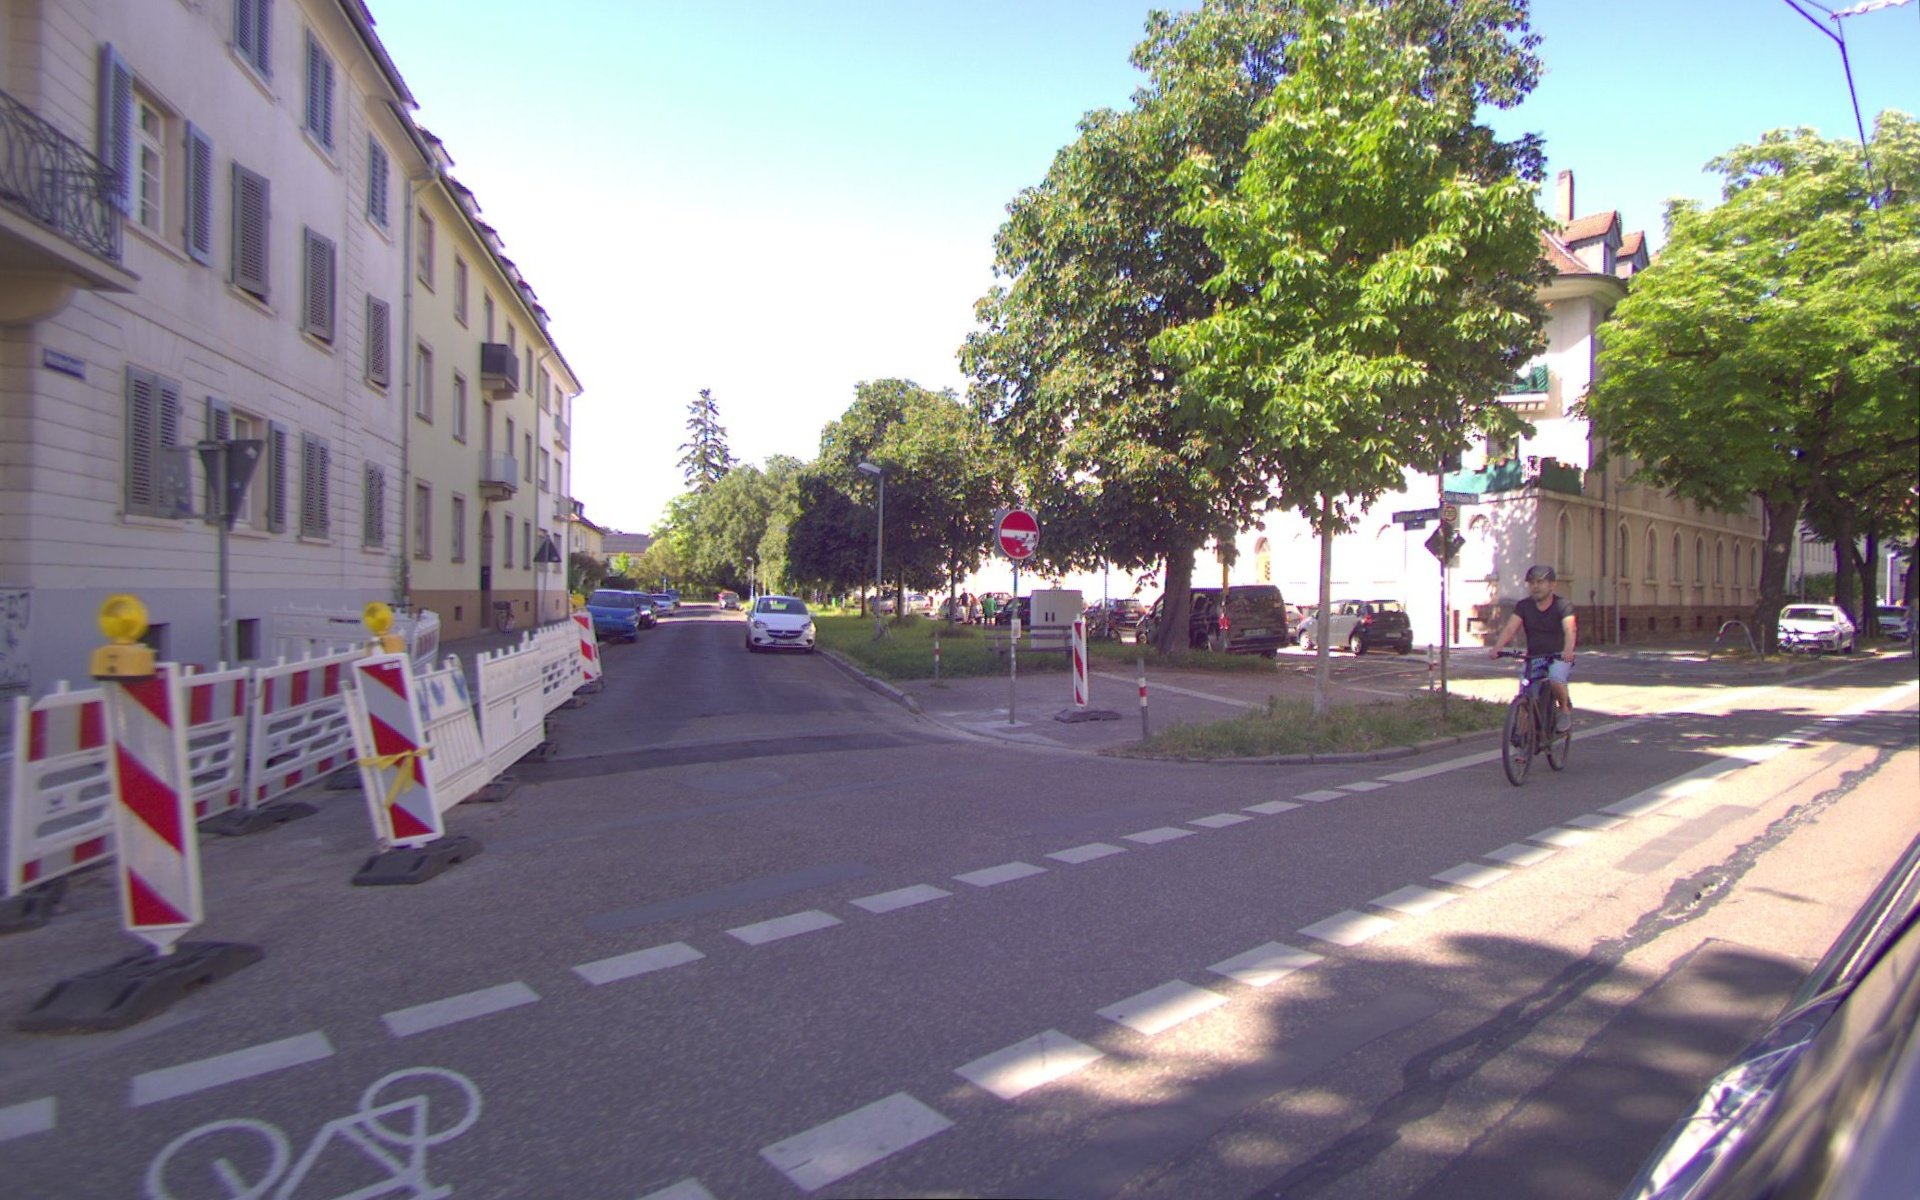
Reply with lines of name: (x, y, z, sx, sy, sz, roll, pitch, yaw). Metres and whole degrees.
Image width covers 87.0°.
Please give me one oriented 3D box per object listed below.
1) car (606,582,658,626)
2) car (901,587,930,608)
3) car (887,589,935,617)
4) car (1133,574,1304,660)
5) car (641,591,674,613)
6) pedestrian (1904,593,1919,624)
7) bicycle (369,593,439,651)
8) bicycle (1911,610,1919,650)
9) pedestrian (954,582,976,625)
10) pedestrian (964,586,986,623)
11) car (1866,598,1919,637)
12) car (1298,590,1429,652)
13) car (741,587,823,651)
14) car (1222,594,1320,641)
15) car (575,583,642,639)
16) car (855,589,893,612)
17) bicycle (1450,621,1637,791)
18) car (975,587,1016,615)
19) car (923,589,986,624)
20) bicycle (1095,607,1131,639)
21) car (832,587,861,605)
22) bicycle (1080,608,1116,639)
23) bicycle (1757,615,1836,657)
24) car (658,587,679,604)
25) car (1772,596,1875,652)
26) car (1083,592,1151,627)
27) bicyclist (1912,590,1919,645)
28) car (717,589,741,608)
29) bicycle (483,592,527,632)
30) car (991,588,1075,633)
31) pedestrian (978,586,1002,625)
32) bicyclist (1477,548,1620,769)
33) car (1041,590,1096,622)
car: (-13.748, 0.144, 42.592, 1.749, 1.674, 3.878, 3, 0, -15)
car: (-3.882, -0.222, 88.507, 1.746, 1.740, 4.051, -3, 1, -13)
car: (-3.145, 0.146, 63.344, 1.958, 1.651, 5.077, -2, 1, -15)
car: (6.396, 0.355, 25.775, 1.958, 1.914, 5.077, -2, 1, -15)
car: (-18.465, 0.100, 61.855, 1.770, 1.236, 3.878, 3, 0, -15)
pedestrian: (64.795, 0.565, 68.868, 0.740, 2.039, 0.678, 1, 0, 41)
bicycle: (-12.109, 0.439, 22.140, 0.514, 1.127, 3.119, 4, 0, -14)
bicycle: (27.699, 0.858, 28.828, 2.024, 1.100, 0.775, 0, 0, -44)
pedestrian: (0.207, 0.152, 45.101, 0.826, 1.865, 0.575, 0, 0, -17)
pedestrian: (0.637, 0.196, 43.350, 0.826, 1.588, 0.575, 0, 0, -17)
car: (39.267, 0.703, 42.187, 4.670, 1.502, 1.821, 0, 2, -44)
car: (11.215, 0.536, 28.382, 1.687, 1.557, 3.447, -3, 1, -13)
car: (-4.812, 0.447, 26.985, 1.749, 1.505, 3.981, 3, 0, -15)
car: (9.991, 0.527, 32.792, 1.539, 1.415, 3.366, -1, 1, -13)
car: (-11.140, 0.309, 32.311, 1.805, 1.566, 3.879, 3, 0, -17)
car: (-6.504, 0.000, 76.222, 1.958, 1.651, 5.077, -2, 1, -15)
bicycle: (5.033, 0.822, 8.669, 2.059, 1.258, 0.762, 0, -1, -41)
car: (2.237, 0.042, 64.533, 1.605, 1.694, 3.865, -1, 1, -13)
car: (-0.358, 0.277, 51.522, 1.958, 1.651, 5.077, -2, 1, -15)
bicycle: (4.055, 0.601, 26.876, 0.410, 0.787, 1.386, 0, 1, -16)
car: (-10.877, -0.396, 96.767, 1.958, 1.651, 5.077, -2, 1, -15)
bicycle: (3.637, 0.606, 26.735, 0.410, 0.768, 1.386, 0, 1, -16)
bicycle: (22.018, 0.926, 26.654, 1.564, 0.992, 0.631, 3, 1, 41)
car: (-27.769, -0.443, 96.493, 1.749, 1.415, 3.878, 3, 0, -15)
car: (25.772, 0.667, 30.157, 4.140, 1.490, 1.705, 0, 2, -41)
car: (6.920, 0.376, 44.942, 1.605, 1.434, 3.970, -1, 1, -13)
bicyclist: (27.708, 0.495, 28.831, 1.209, 1.533, 0.775, 0, 0, -44)
car: (-19.741, -0.163, 86.469, 1.749, 1.505, 3.981, 3, 0, -15)
bicycle: (-14.462, 0.336, 32.257, 0.750, 1.171, 4.009, 0, 1, -16)
car: (2.829, 0.354, 40.378, 1.895, 1.629, 4.629, -2, 1, -15)
pedestrian: (1.208, 0.219, 40.984, 0.826, 1.588, 0.575, 0, 0, -17)
bicyclist: (5.066, 0.470, 8.705, 1.028, 1.761, 0.762, 1, -1, -41)
car: (5.427, 0.265, 51.096, 1.605, 1.519, 3.777, -1, 1, -13)
